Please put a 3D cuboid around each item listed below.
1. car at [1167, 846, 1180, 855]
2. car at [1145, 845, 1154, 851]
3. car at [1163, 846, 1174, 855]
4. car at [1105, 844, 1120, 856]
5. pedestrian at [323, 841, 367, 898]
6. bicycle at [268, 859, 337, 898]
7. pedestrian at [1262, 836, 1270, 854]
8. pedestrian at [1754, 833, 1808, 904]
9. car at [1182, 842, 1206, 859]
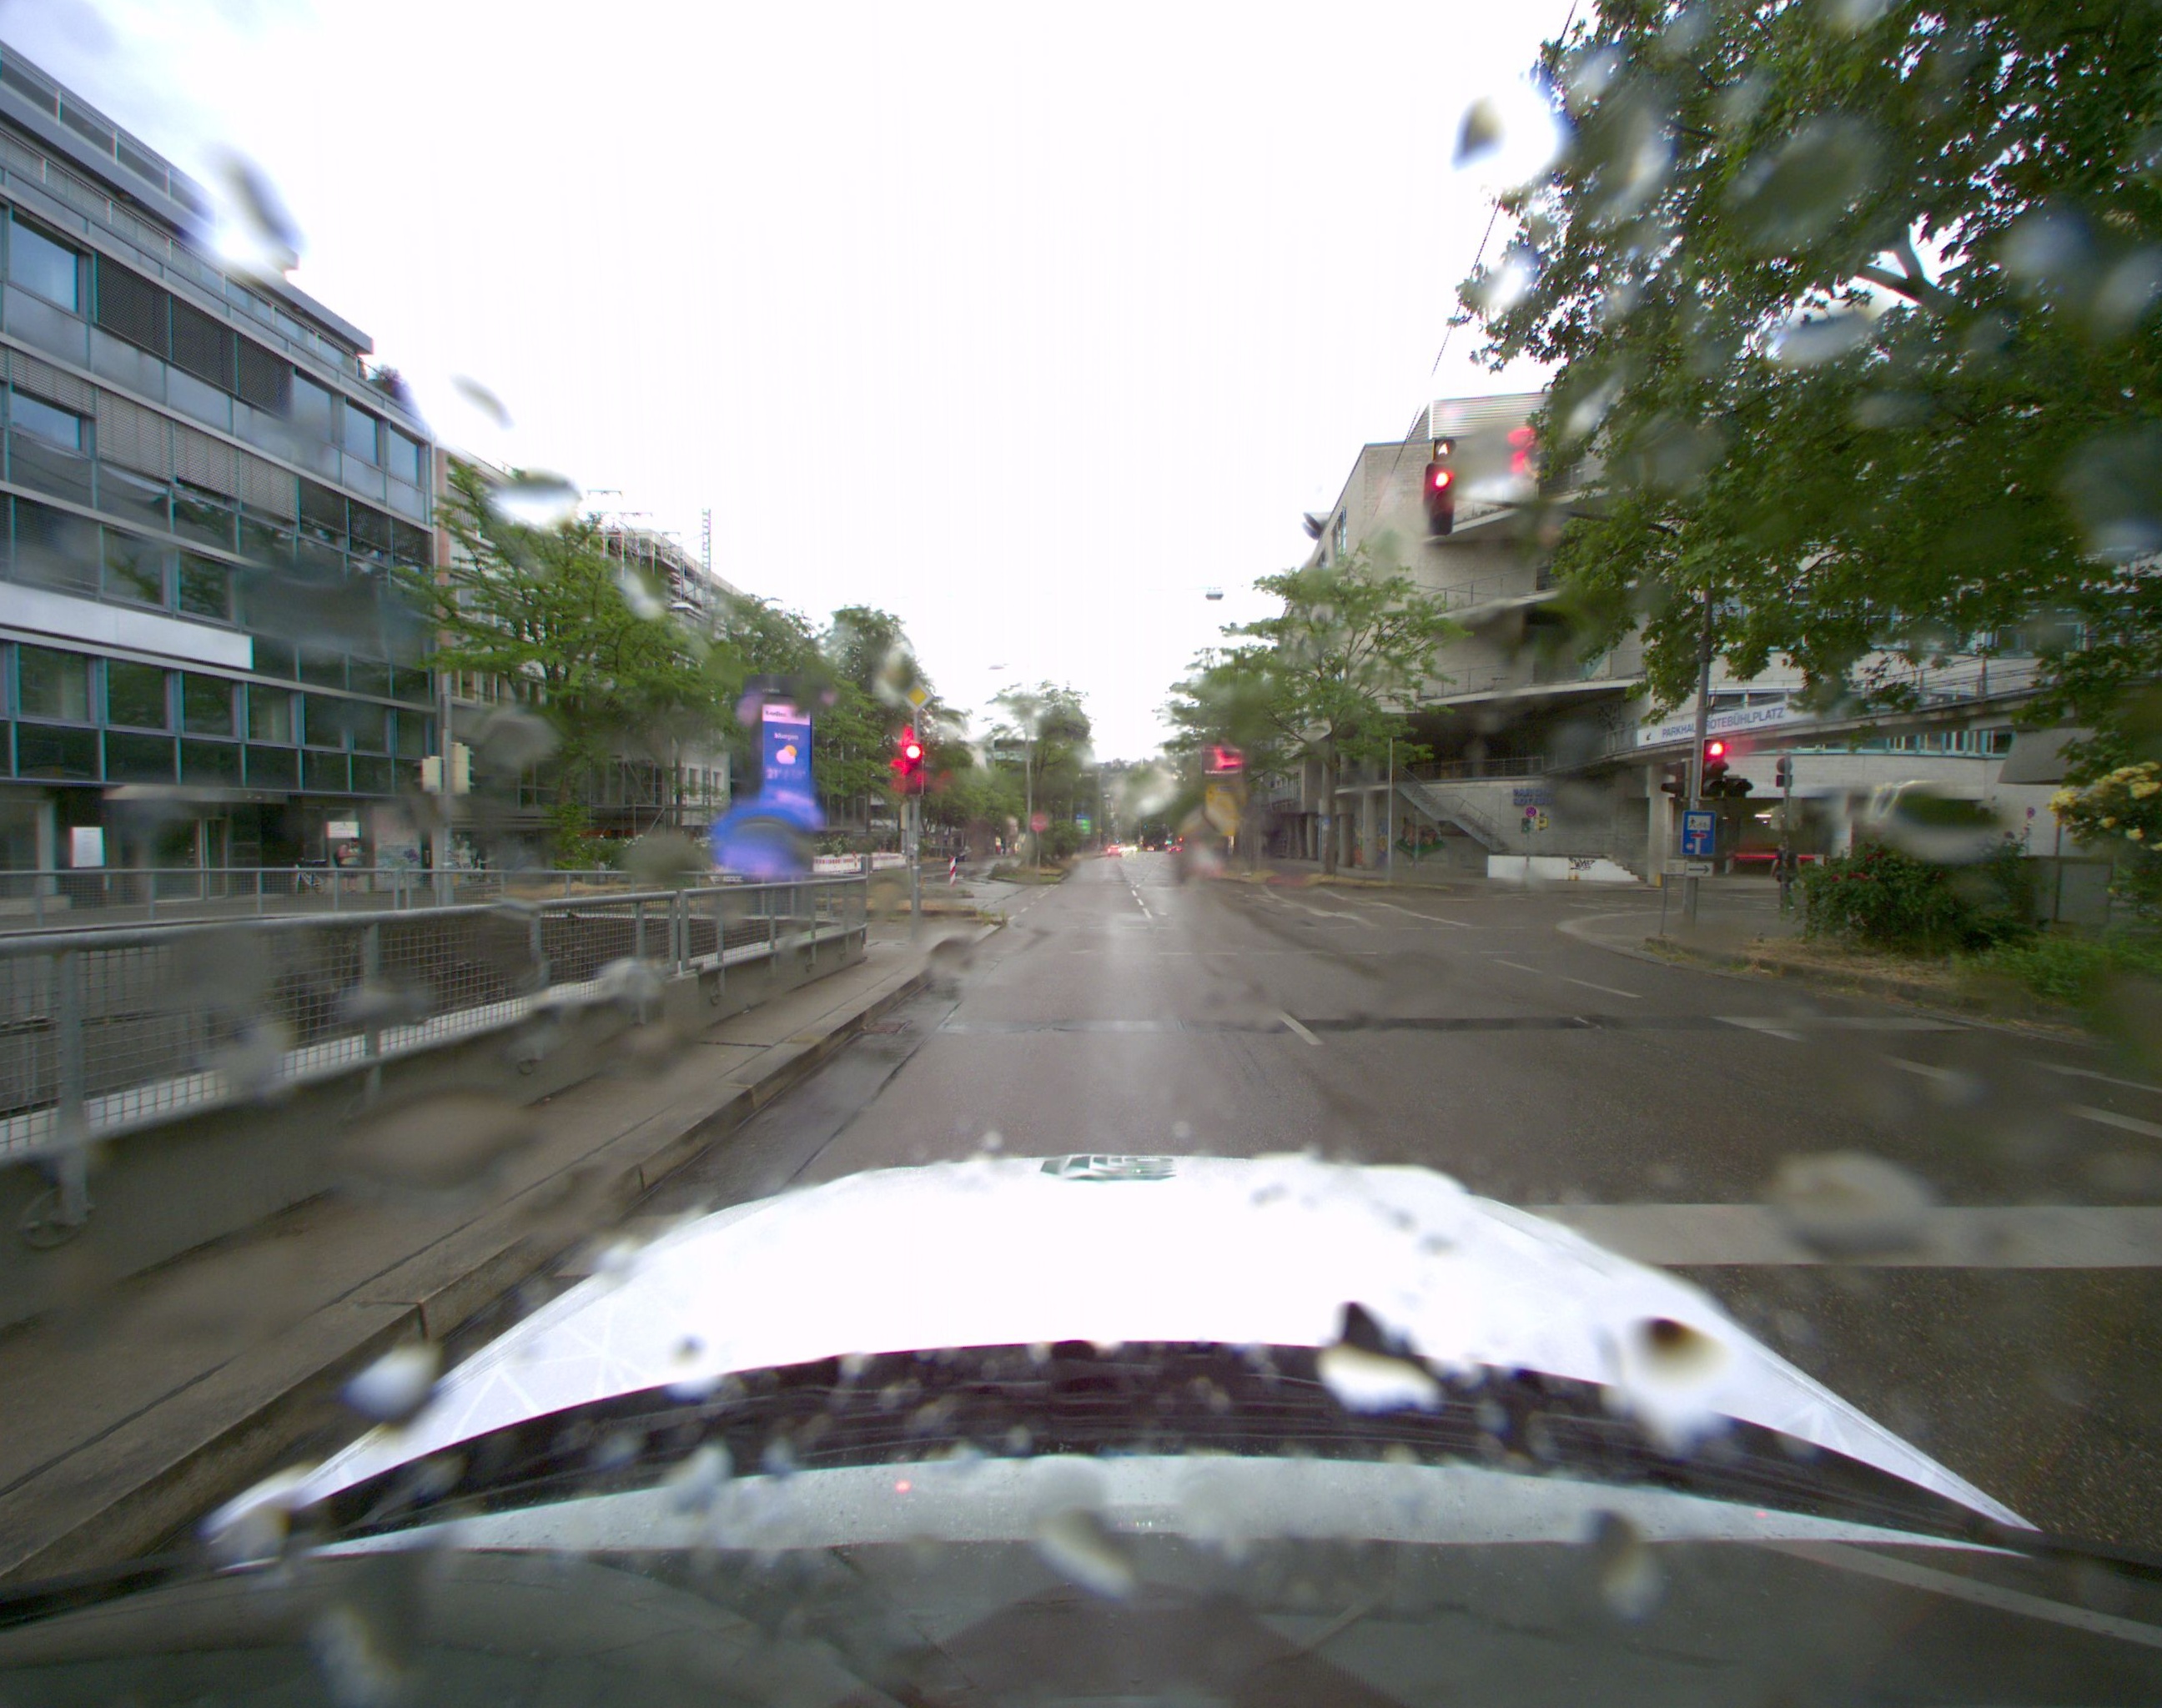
[{"bbox_3d":[17.665,-0.667,155.429,1.986,1.723,4.001,0,-1,1],"label":"car"},{"bbox_3d":[19.287,-1.642,228.585,1.989,1.758,3.995,1,0,-4],"label":"car"},{"bbox_3d":[17.897,-0.686,166.629,1.986,1.736,4.001,0,-1,2],"label":"car"},{"bbox_3d":[4.451,-0.568,115.491,1.824,1.640,4.296,1,0,-2],"label":"car"},{"bbox_3d":[-22.795,0.465,25.232,0.694,1.741,0.694,1,0,-4],"label":"pedestrian"},{"bbox_3d":[-22.941,0.717,24.031,0.444,1.085,1.567,0,0,6],"label":"bicycle"},{"bbox_3d":[19.794,-0.917,87.145,0.770,1.920,0.705,-1,-1,11],"label":"pedestrian"},{"bbox_3d":[19.205,0.398,22.343,0.843,1.910,0.758,0,0,1],"label":"pedestrian"},{"bbox_3d":[11.559,-0.363,83.333,2.324,1.691,4.010,0,0,9],"label":"car"}]
